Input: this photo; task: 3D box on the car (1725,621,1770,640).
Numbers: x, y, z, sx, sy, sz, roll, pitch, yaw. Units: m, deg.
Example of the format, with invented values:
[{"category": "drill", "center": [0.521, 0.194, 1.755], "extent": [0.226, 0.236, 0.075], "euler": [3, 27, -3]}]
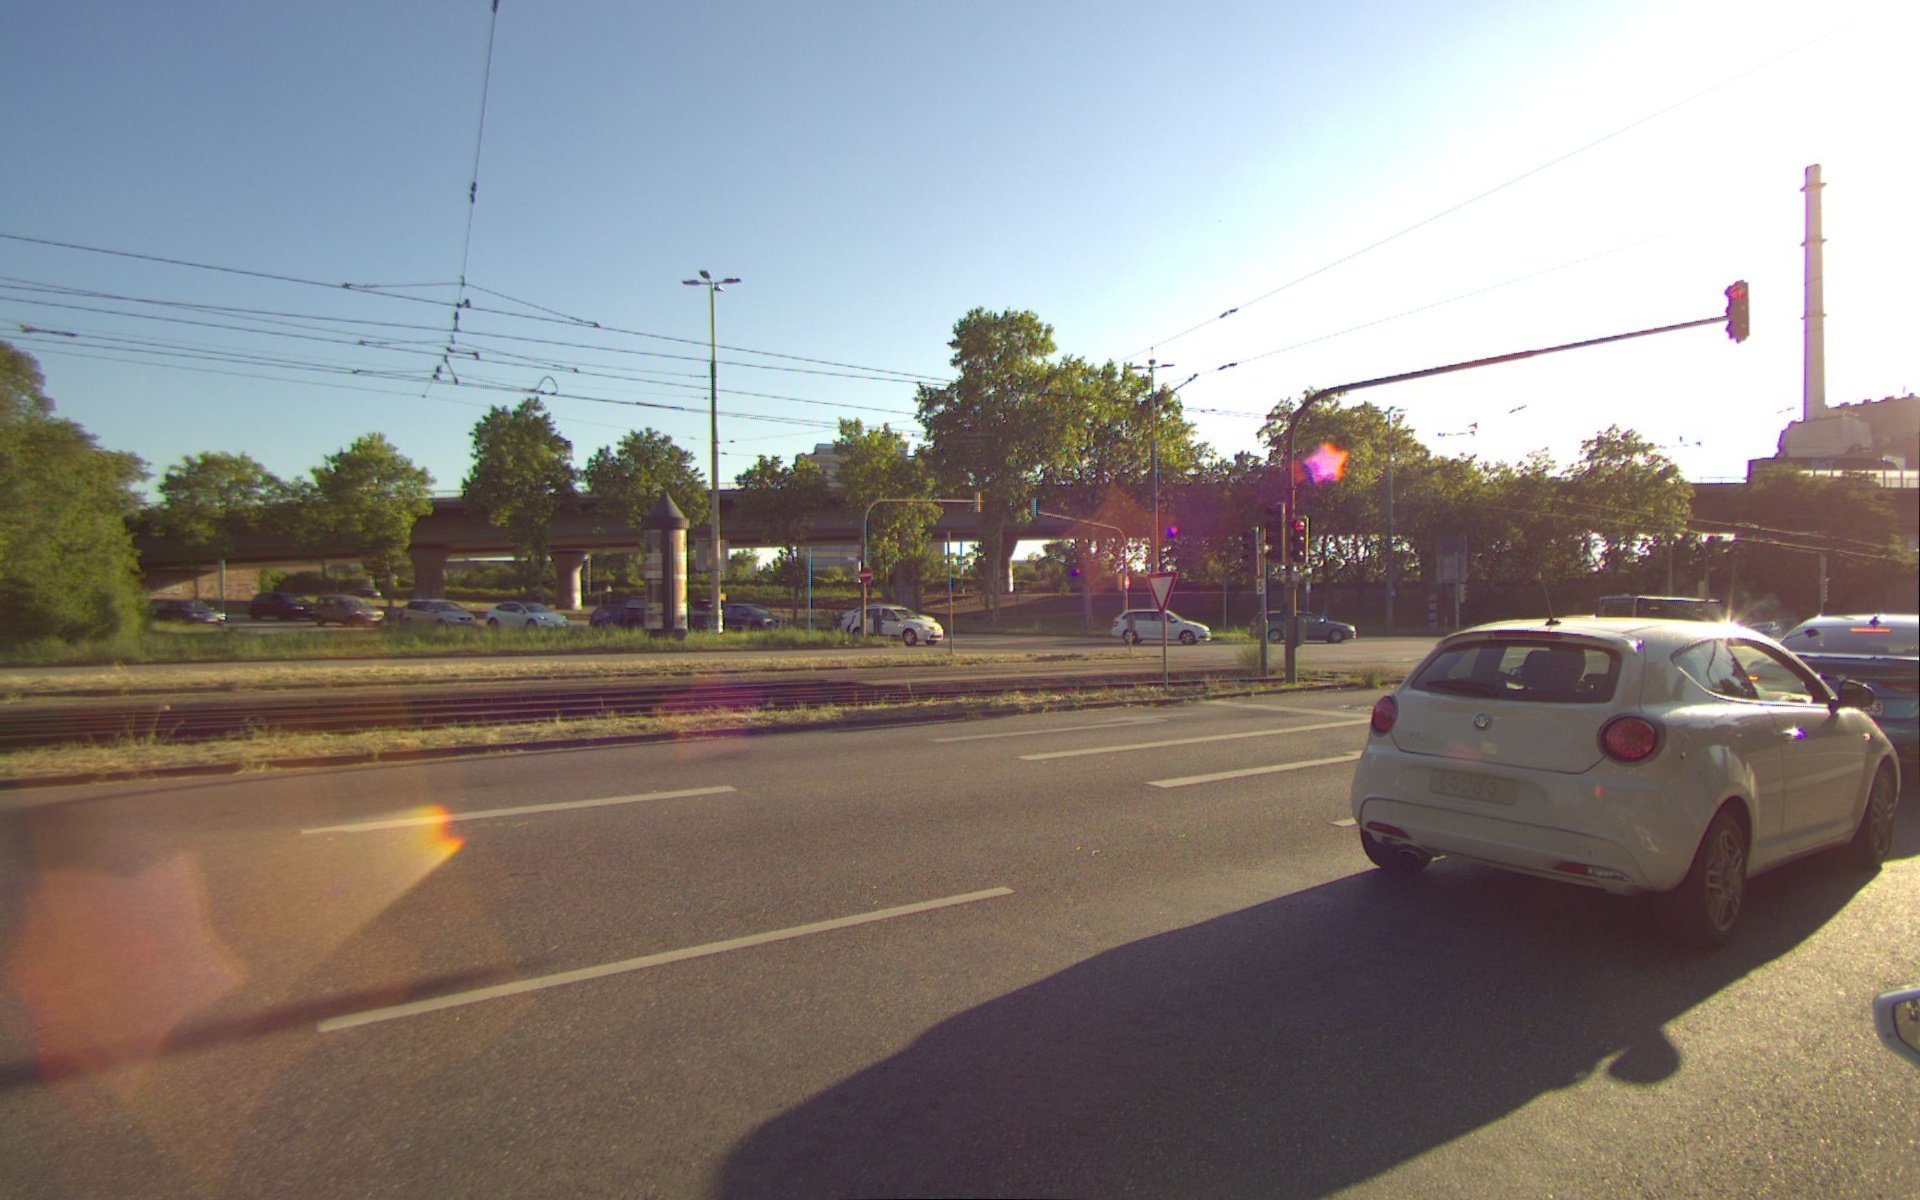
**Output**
[{"category": "car", "center": [62.750, 2.427, 80.046], "extent": [3.964, 1.438, 1.597], "euler": [0, 0, -33]}]

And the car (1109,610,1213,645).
[{"category": "car", "center": [8.649, 1.159, 43.204], "extent": [4.116, 1.423, 1.670], "euler": [0, 0, 23]}]

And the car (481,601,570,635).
[{"category": "car", "center": [-22.338, 0.885, 51.612], "extent": [4.680, 1.596, 1.691], "euler": [1, 1, 28]}]

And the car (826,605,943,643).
[{"category": "car", "center": [-3.436, 1.034, 45.239], "extent": [5.276, 1.596, 1.736], "euler": [0, 0, 33]}]

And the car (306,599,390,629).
[{"category": "car", "center": [-35.446, 0.799, 58.177], "extent": [4.326, 1.701, 1.694], "euler": [0, 0, 17]}]

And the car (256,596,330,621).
[{"category": "car", "center": [-43.493, 0.560, 65.514], "extent": [4.325, 1.546, 1.624], "euler": [0, 0, 17]}]

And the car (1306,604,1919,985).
[{"category": "car", "center": [3.976, 0.797, 5.893], "extent": [3.961, 1.525, 1.725], "euler": [0, -1, -36]}]

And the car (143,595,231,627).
[{"category": "car", "center": [-43.430, 0.613, 56.447], "extent": [4.663, 1.701, 1.753], "euler": [0, 0, 21]}]

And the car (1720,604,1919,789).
[{"category": "car", "center": [9.104, 0.789, 9.679], "extent": [4.166, 1.485, 1.702], "euler": [0, -1, -36]}]

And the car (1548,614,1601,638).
[{"category": "car", "center": [40.141, 1.667, 65.617], "extent": [3.969, 1.532, 1.595], "euler": [0, 0, -36]}]

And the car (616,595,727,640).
[{"category": "car", "center": [-13.501, 0.776, 46.920], "extent": [4.851, 2.017, 2.035], "euler": [0, 0, 25]}]

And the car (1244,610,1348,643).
[{"category": "car", "center": [15.358, 1.181, 46.153], "extent": [4.354, 1.423, 1.671], "euler": [0, 0, 11]}]

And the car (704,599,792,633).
[{"category": "car", "center": [-10.420, 0.757, 49.277], "extent": [4.173, 1.596, 1.690], "euler": [0, 0, 30]}]

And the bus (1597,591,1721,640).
[{"category": "bus", "center": [50.288, 1.192, 72.097], "extent": [12.774, 3.171, 2.530], "euler": [2, -2, -32]}]

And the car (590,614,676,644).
[{"category": "car", "center": [-17.471, 1.524, 53.582], "extent": [4.541, 1.478, 1.691], "euler": [0, 0, 28]}]

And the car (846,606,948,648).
[{"category": "car", "center": [-2.575, 1.051, 40.773], "extent": [3.932, 1.596, 1.689], "euler": [0, 0, 33]}]

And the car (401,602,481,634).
[{"category": "car", "center": [-28.187, 0.966, 54.525], "extent": [4.207, 1.653, 1.692], "euler": [0, 0, 26]}]
